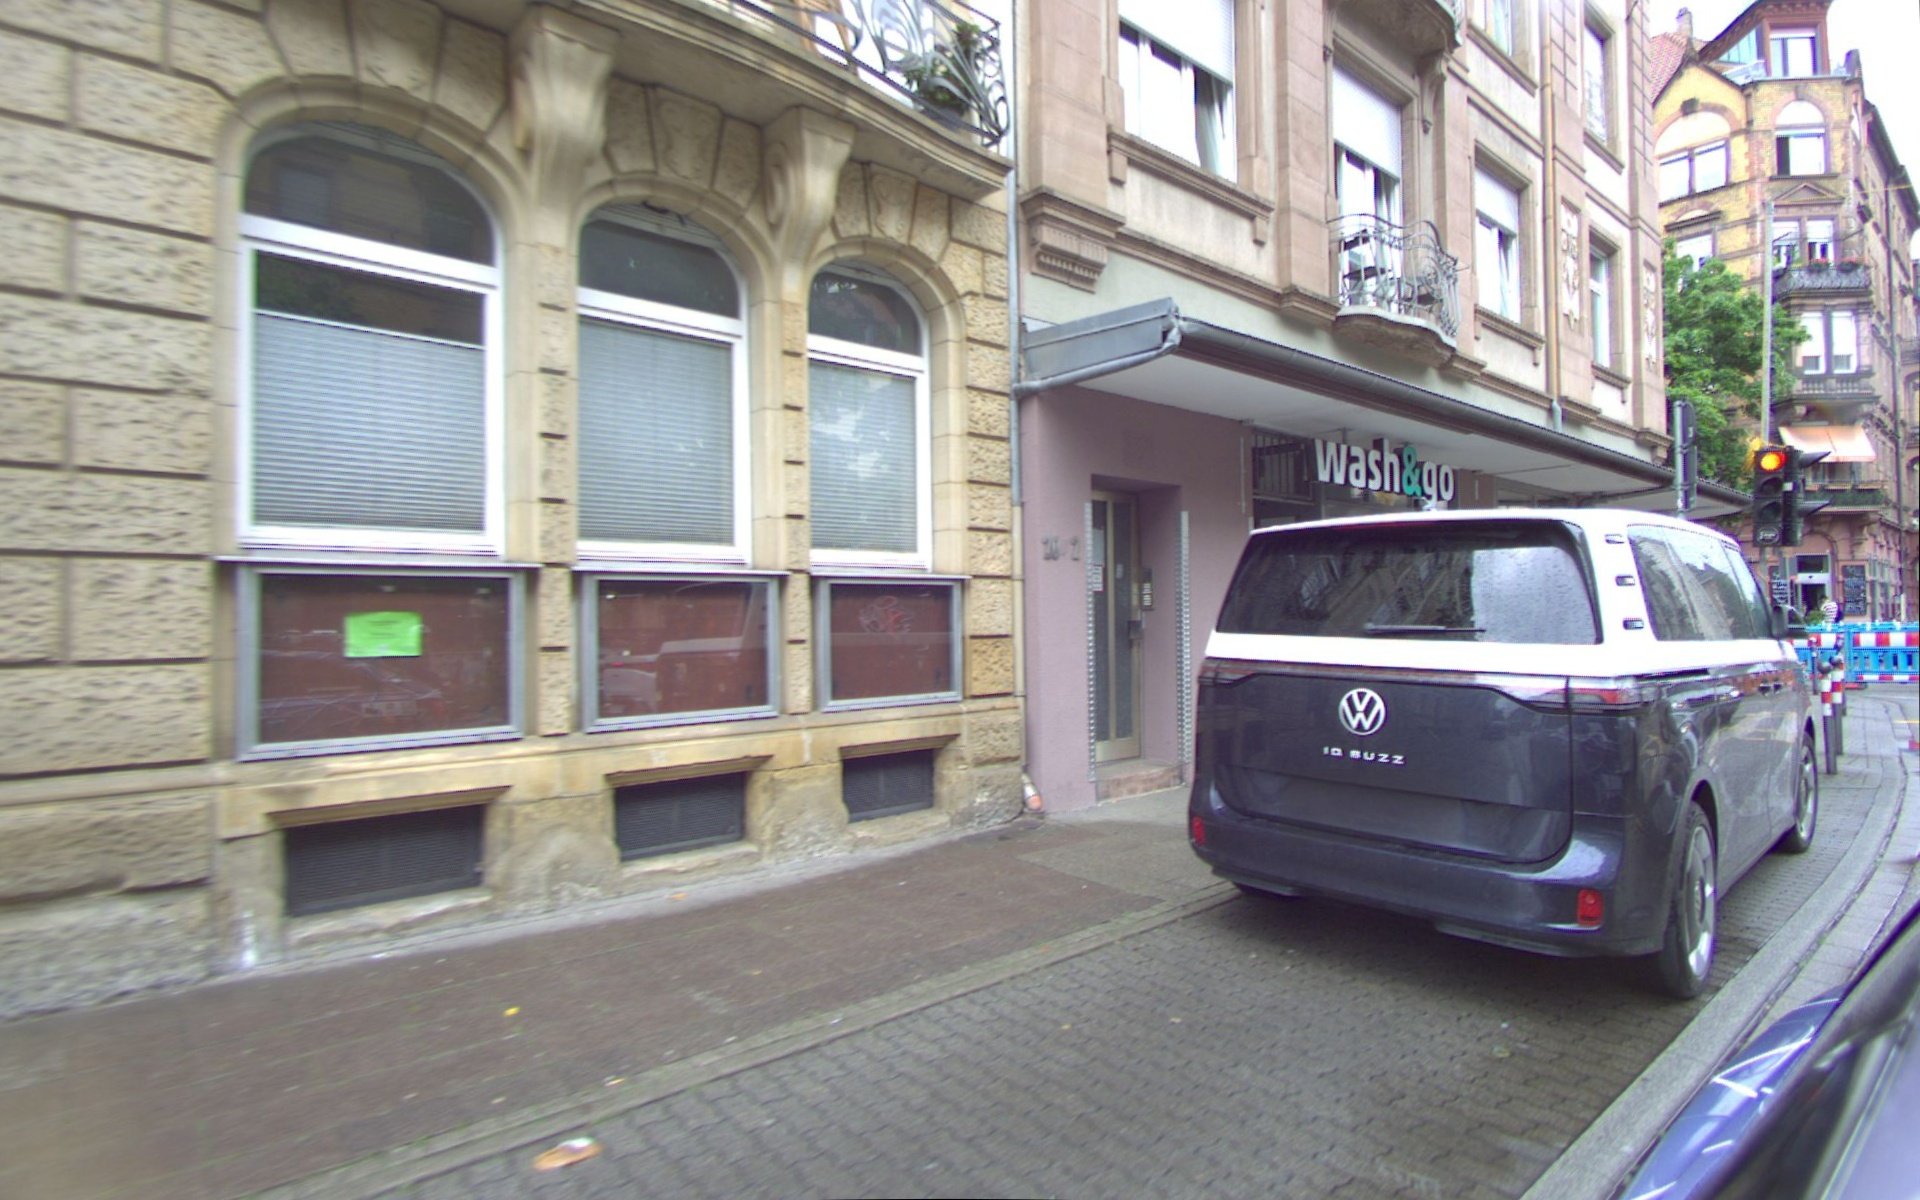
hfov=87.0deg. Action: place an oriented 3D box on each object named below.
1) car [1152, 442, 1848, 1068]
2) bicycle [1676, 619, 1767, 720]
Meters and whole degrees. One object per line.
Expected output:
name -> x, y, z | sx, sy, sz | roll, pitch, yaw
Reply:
car -> 3.407, 0.463, 5.699 | 5.144, 1.963, 1.995 | 0, 1, -44
bicycle -> 9.497, 0.824, 12.595 | 1.907, 1.142, 0.624 | 0, -2, -45
